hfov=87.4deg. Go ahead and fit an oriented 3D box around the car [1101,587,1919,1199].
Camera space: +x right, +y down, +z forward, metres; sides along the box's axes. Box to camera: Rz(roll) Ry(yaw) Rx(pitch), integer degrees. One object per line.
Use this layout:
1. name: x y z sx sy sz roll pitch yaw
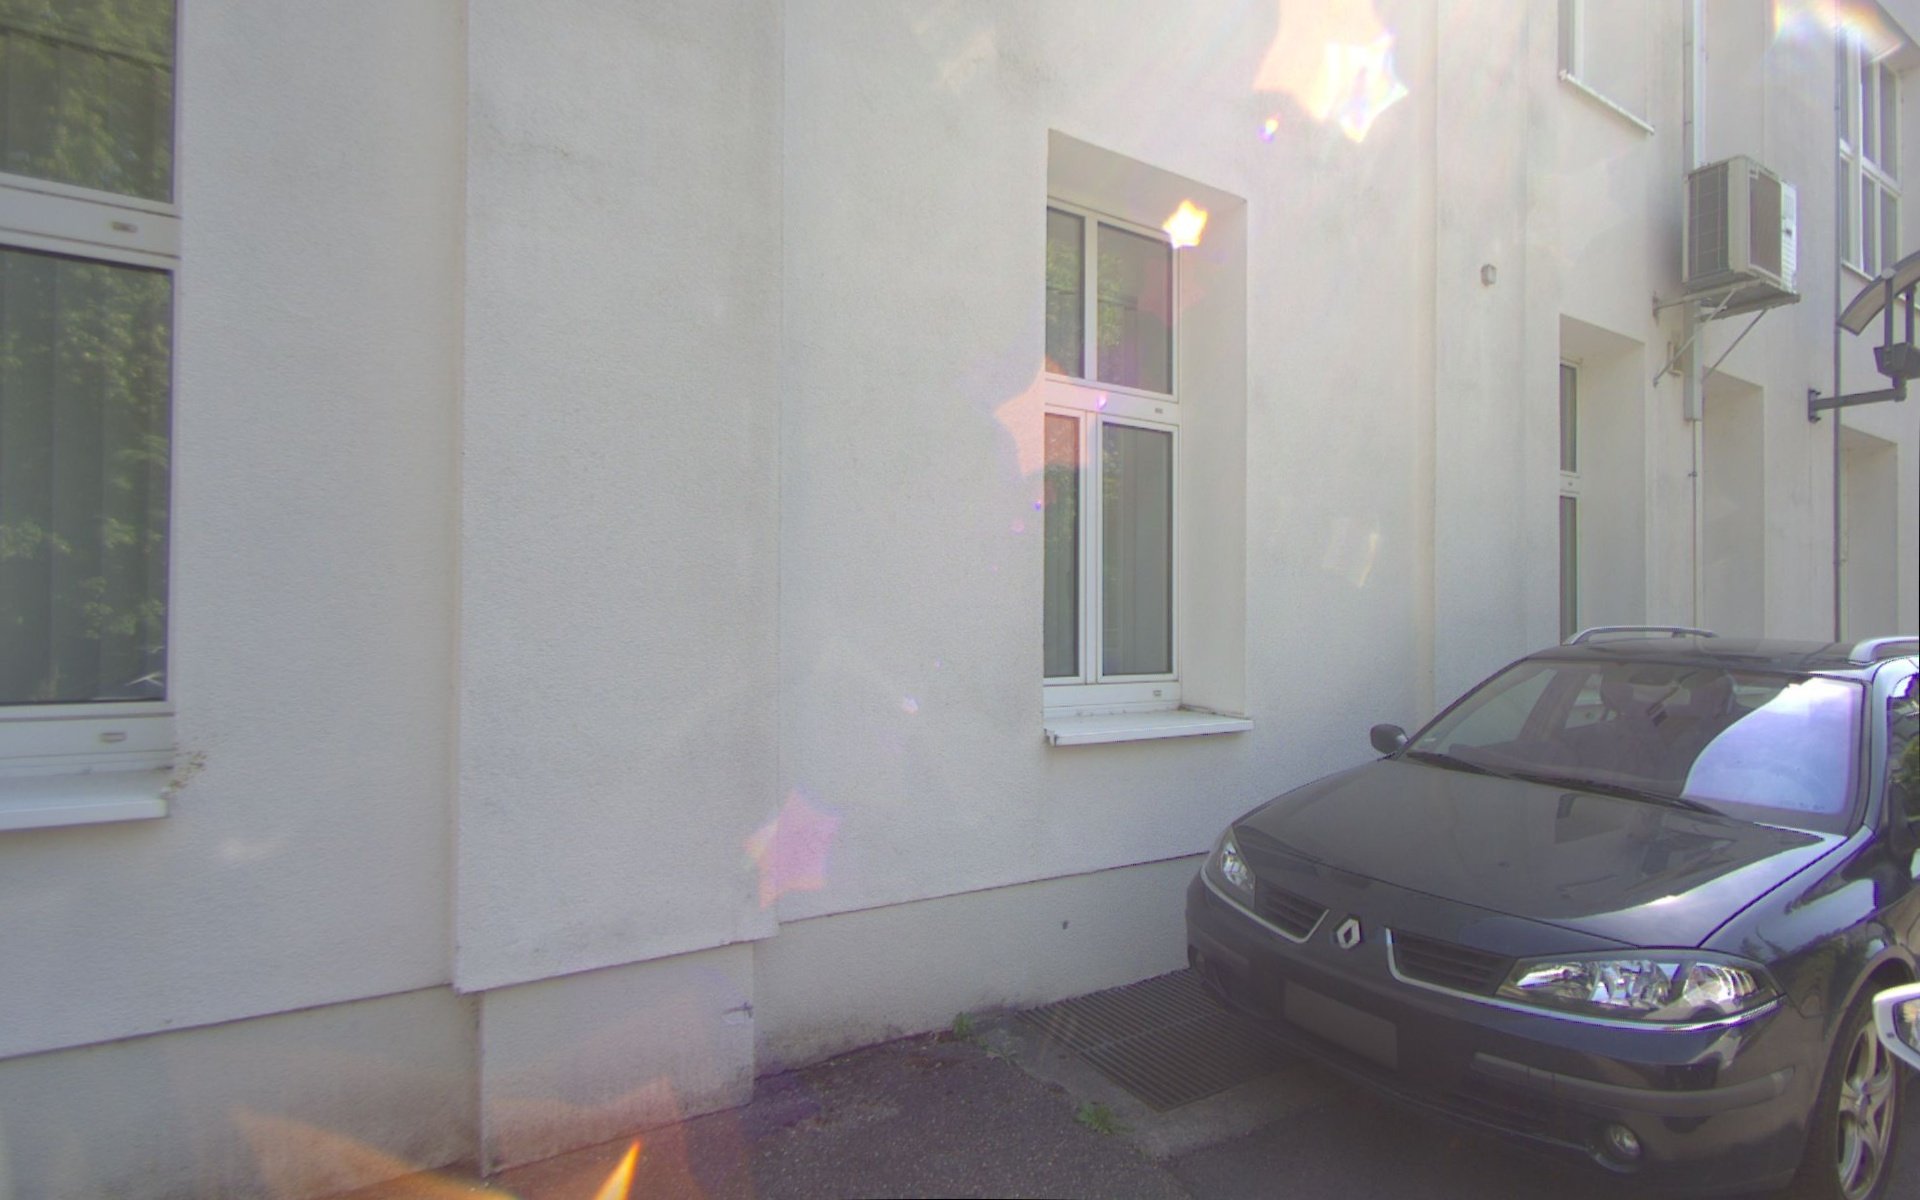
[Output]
1. car: 2.821 0.810 3.907 4.385 1.461 1.825 3 0 -34
